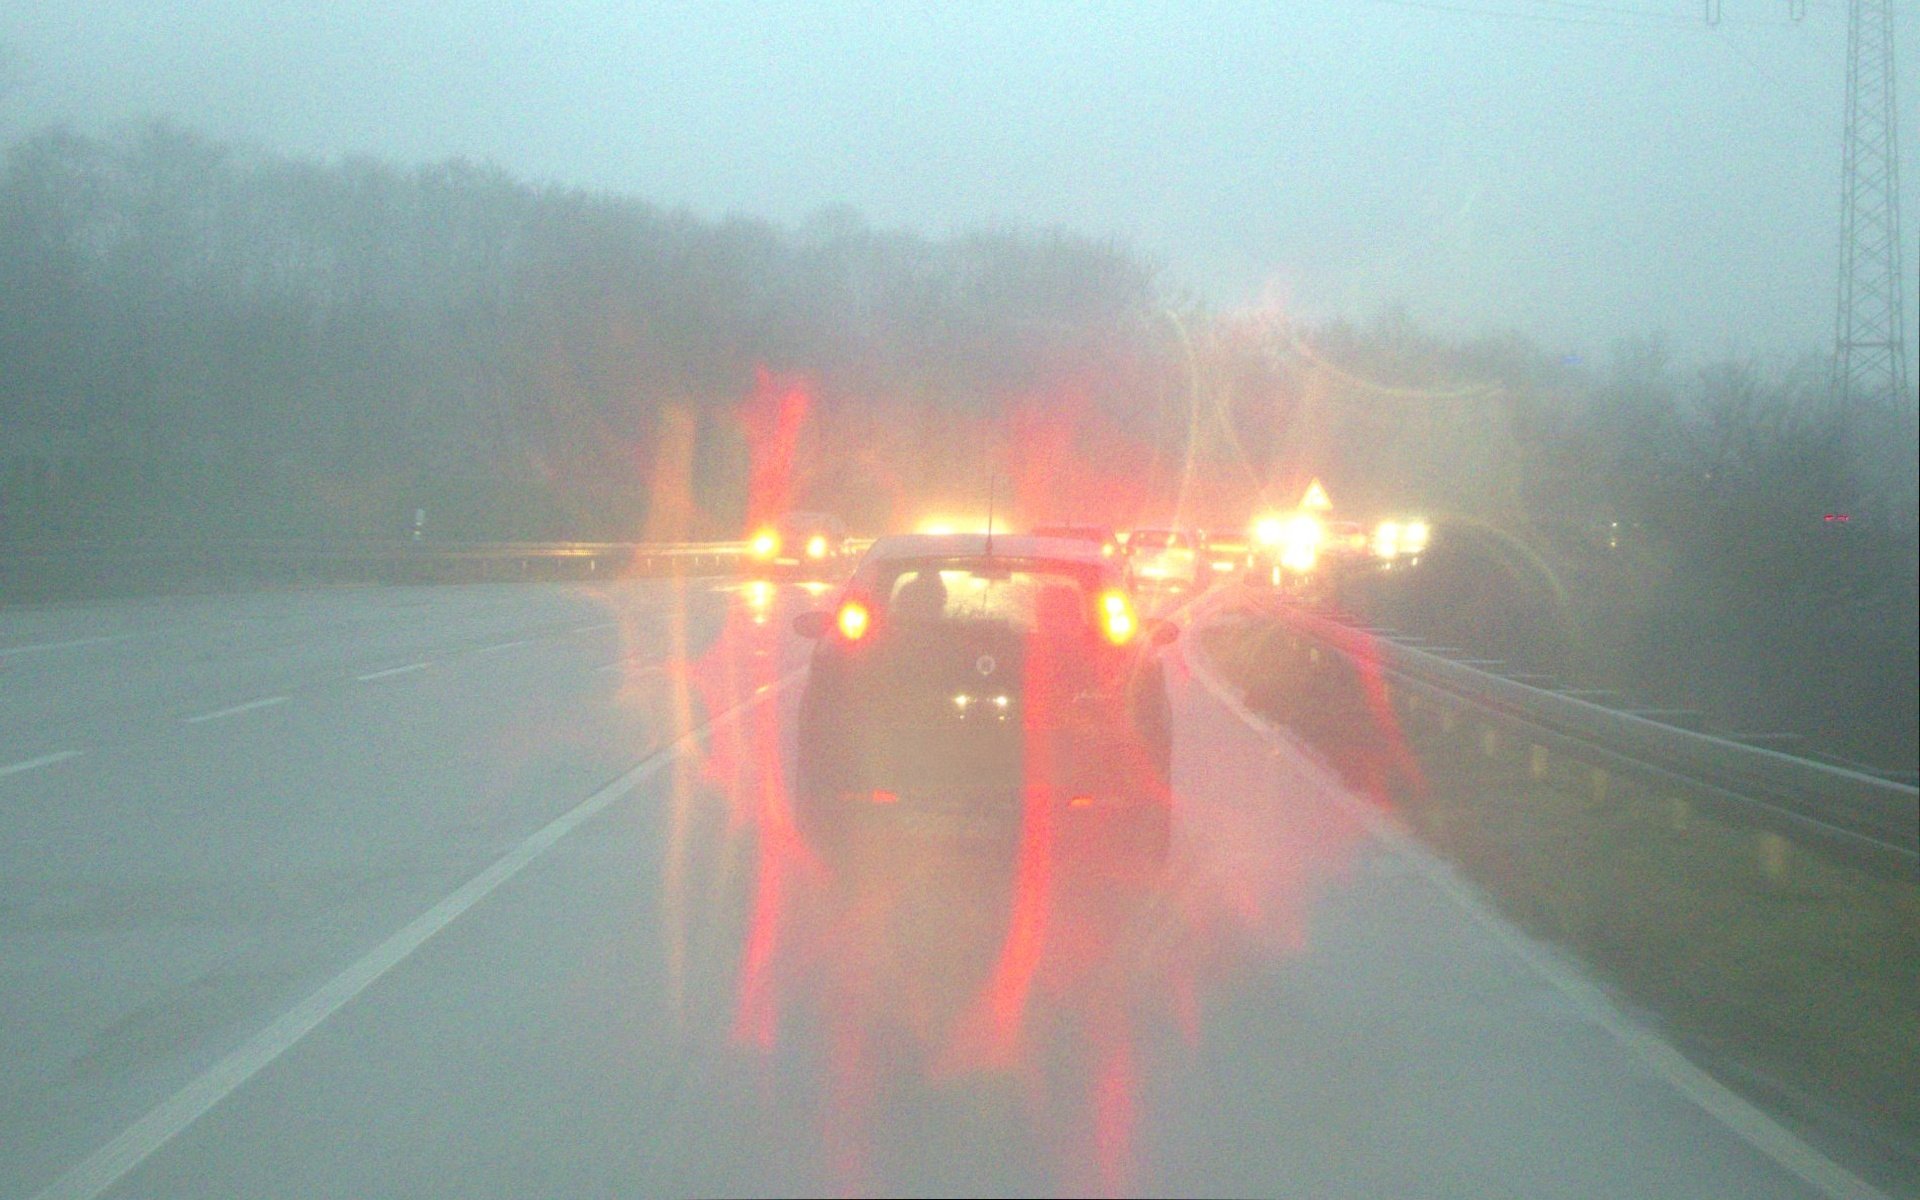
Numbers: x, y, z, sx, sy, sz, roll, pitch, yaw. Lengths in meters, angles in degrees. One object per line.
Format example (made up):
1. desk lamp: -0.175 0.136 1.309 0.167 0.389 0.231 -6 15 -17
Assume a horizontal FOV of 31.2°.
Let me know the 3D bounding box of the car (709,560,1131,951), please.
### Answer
1. car: -0.179 0.631 16.499 1.730 1.527 4.043 -2 2 0

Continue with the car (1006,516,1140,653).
1. car: 1.742 -0.288 54.005 1.946 2.007 4.000 2 1 0

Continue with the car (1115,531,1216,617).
1. car: 4.463 -0.596 74.191 1.946 1.739 3.999 2 1 6

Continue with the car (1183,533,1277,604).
1. car: 7.228 -0.858 91.786 1.947 1.738 3.998 3 2 12

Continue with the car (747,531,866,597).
1. car: -3.293 -0.797 74.593 1.596 1.240 3.998 4 3 11

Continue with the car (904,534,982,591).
1. car: -0.433 -1.016 91.911 1.695 1.412 4.000 3 2 5
